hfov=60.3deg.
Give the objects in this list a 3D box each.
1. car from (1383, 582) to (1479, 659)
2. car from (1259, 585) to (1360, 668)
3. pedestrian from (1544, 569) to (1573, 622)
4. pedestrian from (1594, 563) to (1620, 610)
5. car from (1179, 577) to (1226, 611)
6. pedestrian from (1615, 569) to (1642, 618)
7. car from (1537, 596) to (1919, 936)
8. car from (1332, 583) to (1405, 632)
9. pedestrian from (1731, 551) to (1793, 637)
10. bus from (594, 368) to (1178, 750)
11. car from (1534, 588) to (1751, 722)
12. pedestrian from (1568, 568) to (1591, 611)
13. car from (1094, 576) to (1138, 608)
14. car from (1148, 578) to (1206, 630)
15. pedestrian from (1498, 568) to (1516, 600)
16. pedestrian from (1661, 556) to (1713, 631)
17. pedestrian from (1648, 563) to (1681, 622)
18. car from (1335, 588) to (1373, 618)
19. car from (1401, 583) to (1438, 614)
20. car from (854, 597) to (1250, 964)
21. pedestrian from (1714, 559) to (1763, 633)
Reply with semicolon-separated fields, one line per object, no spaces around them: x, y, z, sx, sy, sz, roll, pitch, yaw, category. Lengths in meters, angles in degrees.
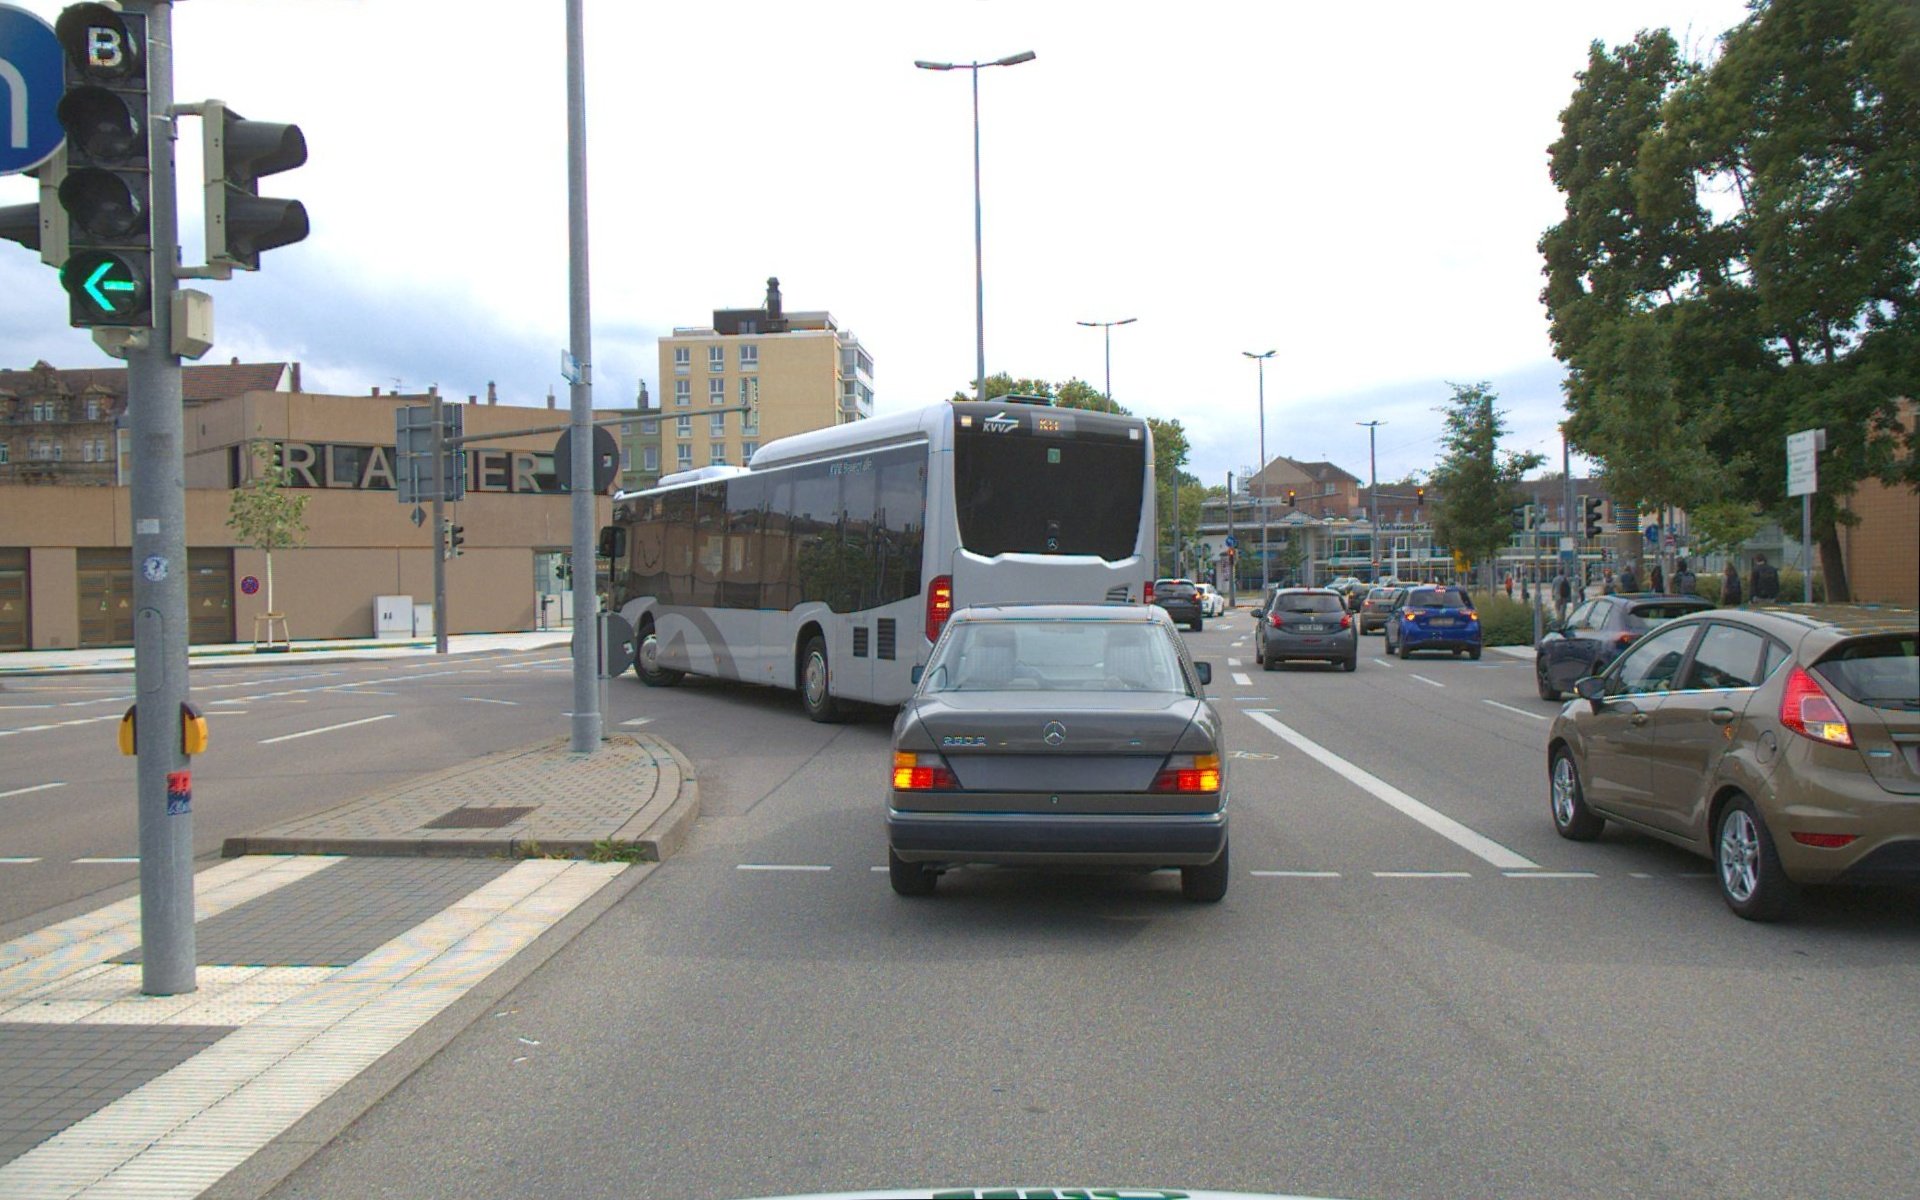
10.102;0.415;35.699;1.818;1.559;4.005;0;0;14;car
6.482;0.464;30.983;1.674;1.445;4.003;1;0;9;car
18.511;-0.145;51.147;0.762;1.601;0.812;-3;0;22;pedestrian
22.330;-0.465;57.037;0.762;1.601;0.812;-3;0;22;pedestrian
10.588;-0.257;72.063;1.674;1.445;4.003;0;0;14;car
22.178;-0.221;54.866;0.762;1.601;0.812;-3;0;22;pedestrian
4.513;0.704;8.817;1.660;1.429;3.701;1;0;1;car
12.746;0.216;51.784;2.087;1.445;3.703;1;0;12;car
16.569;-0.127;34.201;0.762;1.741;1.028;0;0;-1;pedestrian
-2.024;-0.332;22.120;2.670;3.498;14.073;-2;0;-24;bus
8.535;0.632;20.988;1.630;1.534;3.637;1;0;7;car
23.928;-0.408;63.893;0.762;1.601;0.812;-3;0;22;pedestrian
8.383;-0.406;88.769;1.951;1.680;4.516;1;0;10;car
7.069;0.124;54.088;1.795;1.643;3.549;1;0;7;car
28.098;-0.834;85.002;0.762;1.601;0.812;-3;0;22;pedestrian
17.146;-0.162;39.038;0.762;1.741;1.028;0;0;-1;pedestrian
19.668;-0.221;46.190;0.762;1.601;0.812;-3;0;22;pedestrian
19.519;0.144;81.904;1.674;1.445;4.003;0;0;16;car
22.056;-0.069;79.344;1.667;1.445;3.703;0;0;16;car
0.648;0.748;9.161;1.659;1.506;4.419;1;0;7;car
18.495;-0.099;39.289;0.762;1.741;0.812;0;0;-1;pedestrian
